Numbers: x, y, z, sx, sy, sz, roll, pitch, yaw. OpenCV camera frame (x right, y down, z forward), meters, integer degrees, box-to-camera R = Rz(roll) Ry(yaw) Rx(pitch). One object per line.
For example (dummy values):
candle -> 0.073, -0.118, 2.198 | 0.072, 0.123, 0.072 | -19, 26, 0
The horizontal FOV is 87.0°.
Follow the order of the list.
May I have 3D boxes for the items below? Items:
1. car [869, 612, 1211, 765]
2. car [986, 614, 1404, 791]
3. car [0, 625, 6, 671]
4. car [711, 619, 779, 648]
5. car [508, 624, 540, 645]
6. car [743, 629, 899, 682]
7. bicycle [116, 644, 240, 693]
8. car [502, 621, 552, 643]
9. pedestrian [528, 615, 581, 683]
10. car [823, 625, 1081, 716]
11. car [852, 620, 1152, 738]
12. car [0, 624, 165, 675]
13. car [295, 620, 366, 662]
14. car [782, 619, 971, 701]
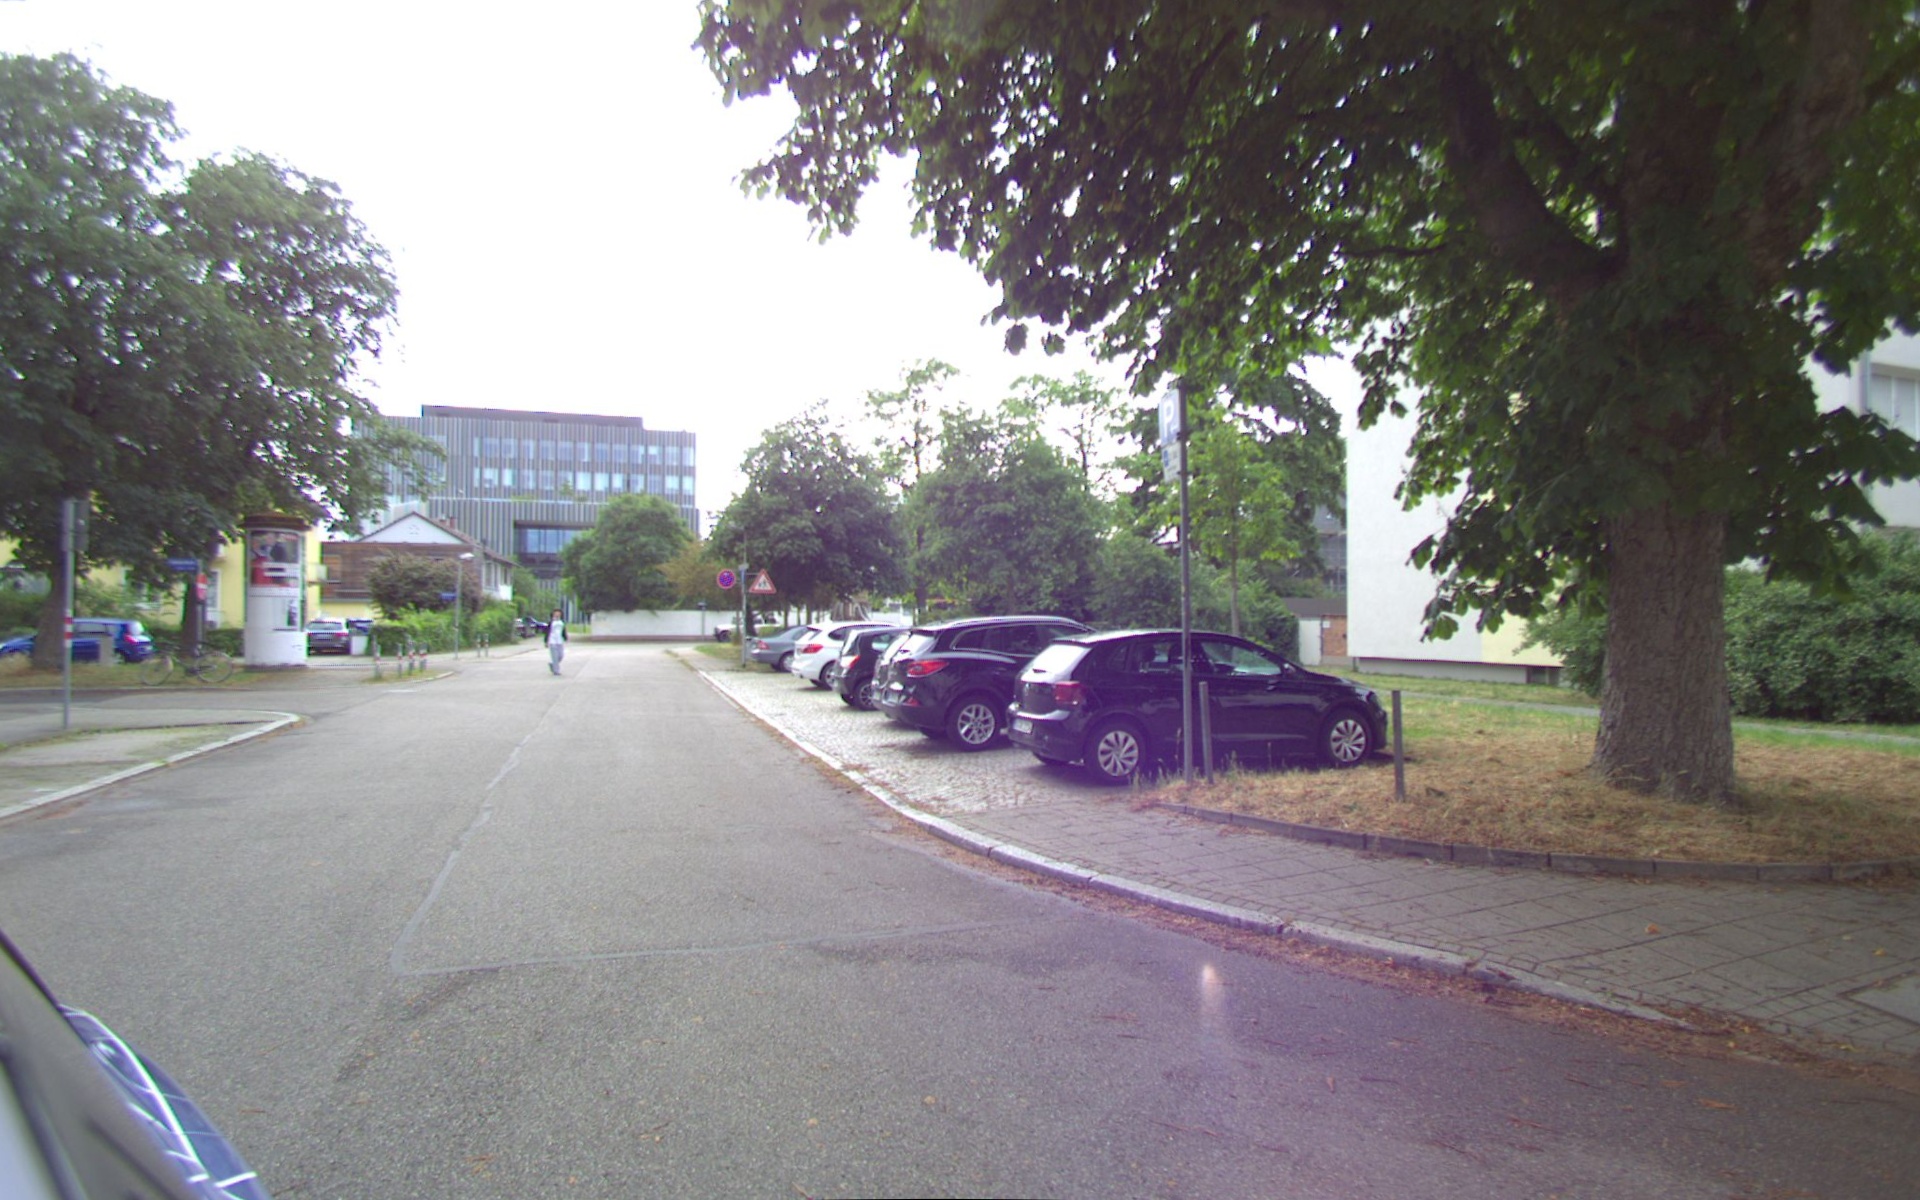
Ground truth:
car -> 0.961, 1.057, 13.201 | 4.000, 1.710, 1.922 | -1, -1, -14
car -> 2.356, 0.966, 10.494 | 3.777, 1.589, 1.836 | 0, -2, -15
car -> -33.445, 1.594, 32.246 | 4.094, 1.511, 1.725 | 0, 1, -24
car -> -15.112, 2.336, 71.120 | 4.416, 1.873, 2.007 | 0, 1, -22
car -> -34.762, 2.729, 80.817 | 1.966, 1.408, 4.013 | 0, 1, -18
car -> -4.291, 1.678, 31.324 | 4.481, 1.465, 1.685 | -1, -1, -23
bicycle -> -17.545, 1.519, 22.769 | 2.144, 0.993, 0.514 | 0, 1, -26
car -> -38.738, 2.844, 90.710 | 3.932, 1.851, 2.006 | 0, 1, -17
pedestrian -> -11.299, 1.349, 28.215 | 1.217, 1.850, 0.867 | -1, -2, 38
car -> -0.200, 1.261, 18.954 | 4.483, 1.475, 1.846 | -1, -1, -14
car -> 0.597, 1.146, 15.751 | 4.284, 1.578, 1.846 | -1, -1, -14
car -> -29.258, 1.619, 33.617 | 4.137, 1.578, 1.710 | 0, 0, -19
car -> -25.722, 1.664, 41.480 | 1.811, 1.623, 4.013 | 1, -2, -22
car -> -2.006, 1.362, 24.038 | 4.078, 1.572, 1.890 | -3, 1, -18
